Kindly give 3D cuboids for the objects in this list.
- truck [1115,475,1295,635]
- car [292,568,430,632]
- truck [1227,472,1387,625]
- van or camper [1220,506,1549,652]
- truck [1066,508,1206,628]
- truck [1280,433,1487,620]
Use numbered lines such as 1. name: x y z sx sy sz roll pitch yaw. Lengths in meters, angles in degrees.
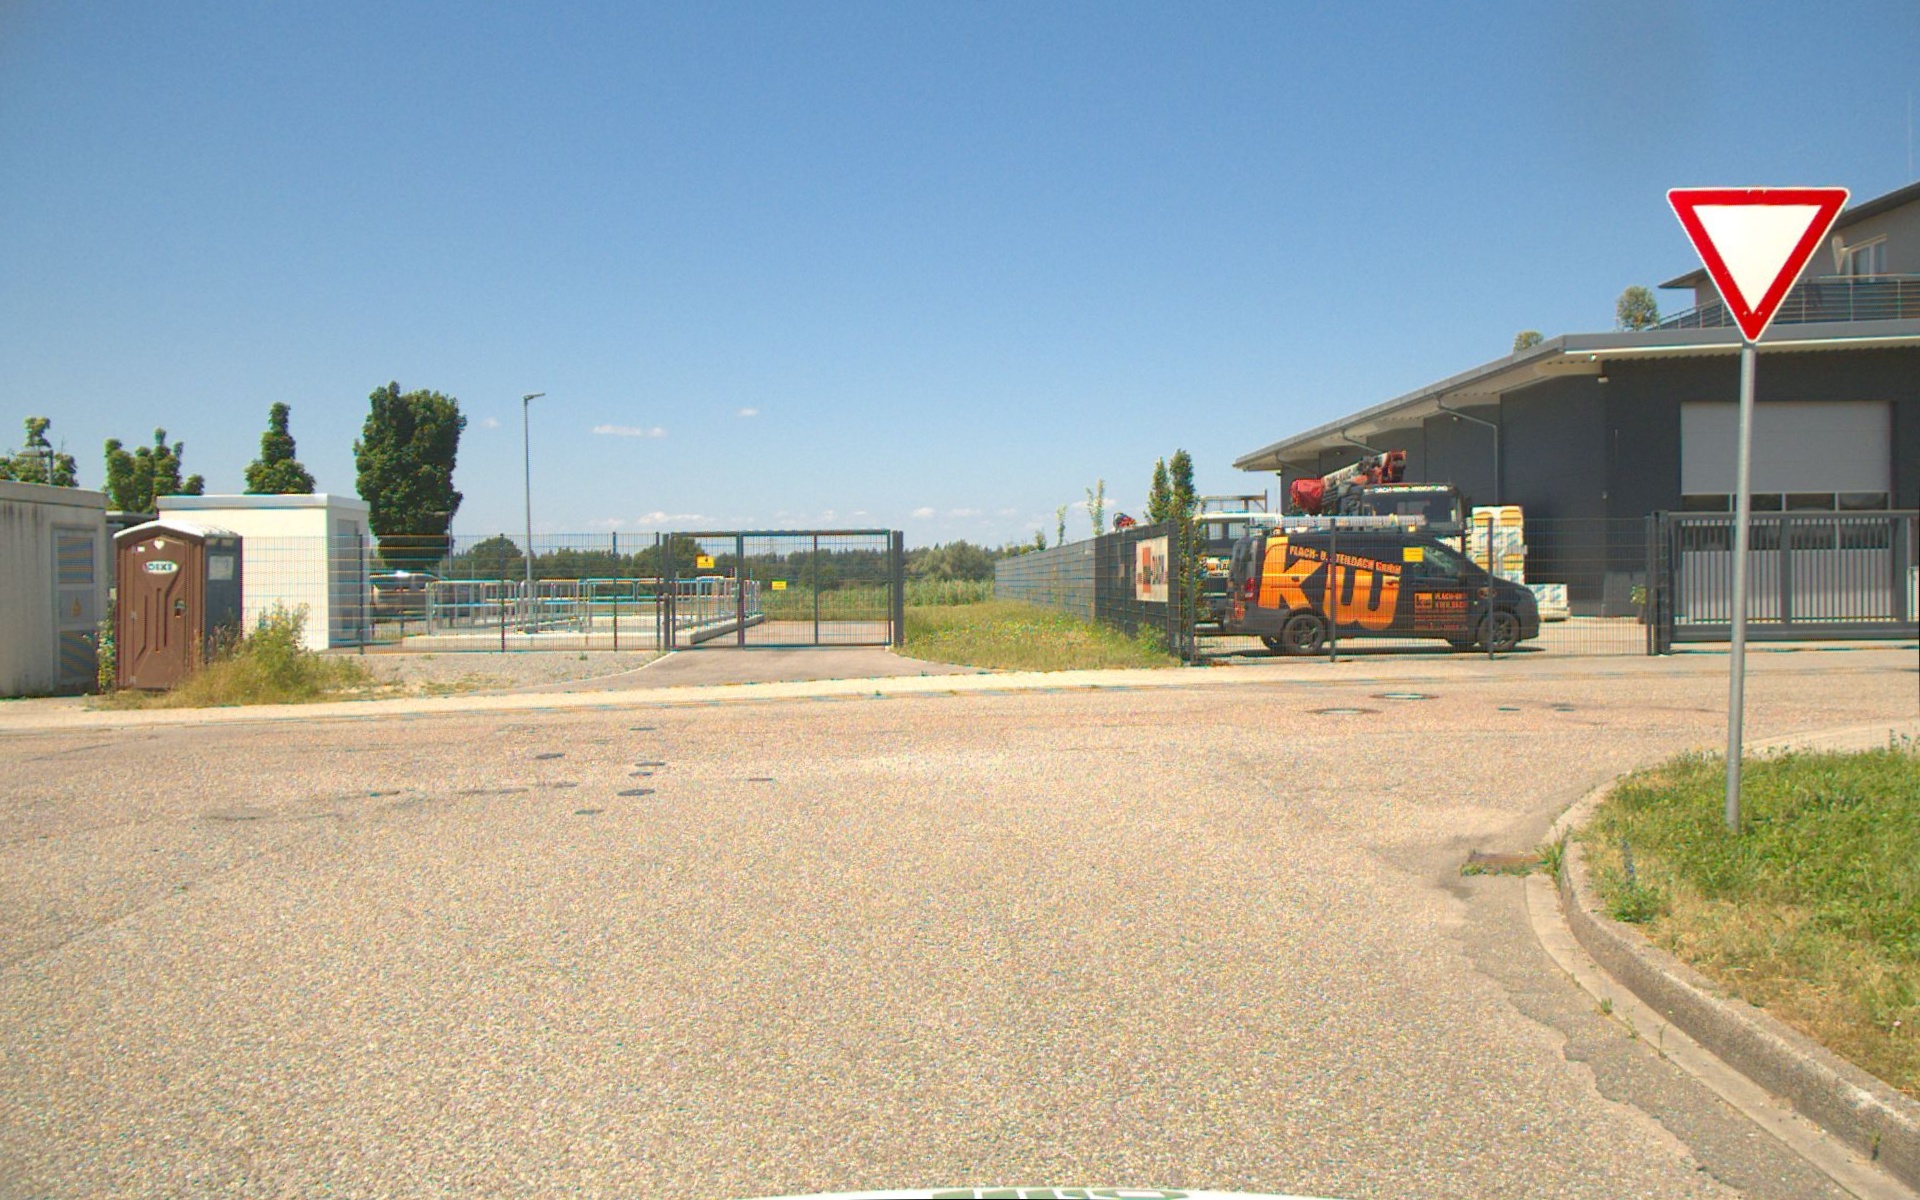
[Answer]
1. truck: 5.180 -0.932 36.232 2.672 3.115 6.933 -1 1 -2
2. car: -20.269 -0.004 56.096 3.906 2.049 2.000 -1 1 -1
3. truck: 9.704 -1.399 47.033 2.862 3.997 6.933 -1 1 -2
4. van or camper: 6.849 -0.358 27.036 4.837 2.201 2.000 -1 2 -2
5. truck: 4.702 -0.864 45.457 2.862 2.989 6.933 -1 1 -2
6. truck: 9.831 -1.629 39.221 2.862 3.997 6.933 -1 1 -2
